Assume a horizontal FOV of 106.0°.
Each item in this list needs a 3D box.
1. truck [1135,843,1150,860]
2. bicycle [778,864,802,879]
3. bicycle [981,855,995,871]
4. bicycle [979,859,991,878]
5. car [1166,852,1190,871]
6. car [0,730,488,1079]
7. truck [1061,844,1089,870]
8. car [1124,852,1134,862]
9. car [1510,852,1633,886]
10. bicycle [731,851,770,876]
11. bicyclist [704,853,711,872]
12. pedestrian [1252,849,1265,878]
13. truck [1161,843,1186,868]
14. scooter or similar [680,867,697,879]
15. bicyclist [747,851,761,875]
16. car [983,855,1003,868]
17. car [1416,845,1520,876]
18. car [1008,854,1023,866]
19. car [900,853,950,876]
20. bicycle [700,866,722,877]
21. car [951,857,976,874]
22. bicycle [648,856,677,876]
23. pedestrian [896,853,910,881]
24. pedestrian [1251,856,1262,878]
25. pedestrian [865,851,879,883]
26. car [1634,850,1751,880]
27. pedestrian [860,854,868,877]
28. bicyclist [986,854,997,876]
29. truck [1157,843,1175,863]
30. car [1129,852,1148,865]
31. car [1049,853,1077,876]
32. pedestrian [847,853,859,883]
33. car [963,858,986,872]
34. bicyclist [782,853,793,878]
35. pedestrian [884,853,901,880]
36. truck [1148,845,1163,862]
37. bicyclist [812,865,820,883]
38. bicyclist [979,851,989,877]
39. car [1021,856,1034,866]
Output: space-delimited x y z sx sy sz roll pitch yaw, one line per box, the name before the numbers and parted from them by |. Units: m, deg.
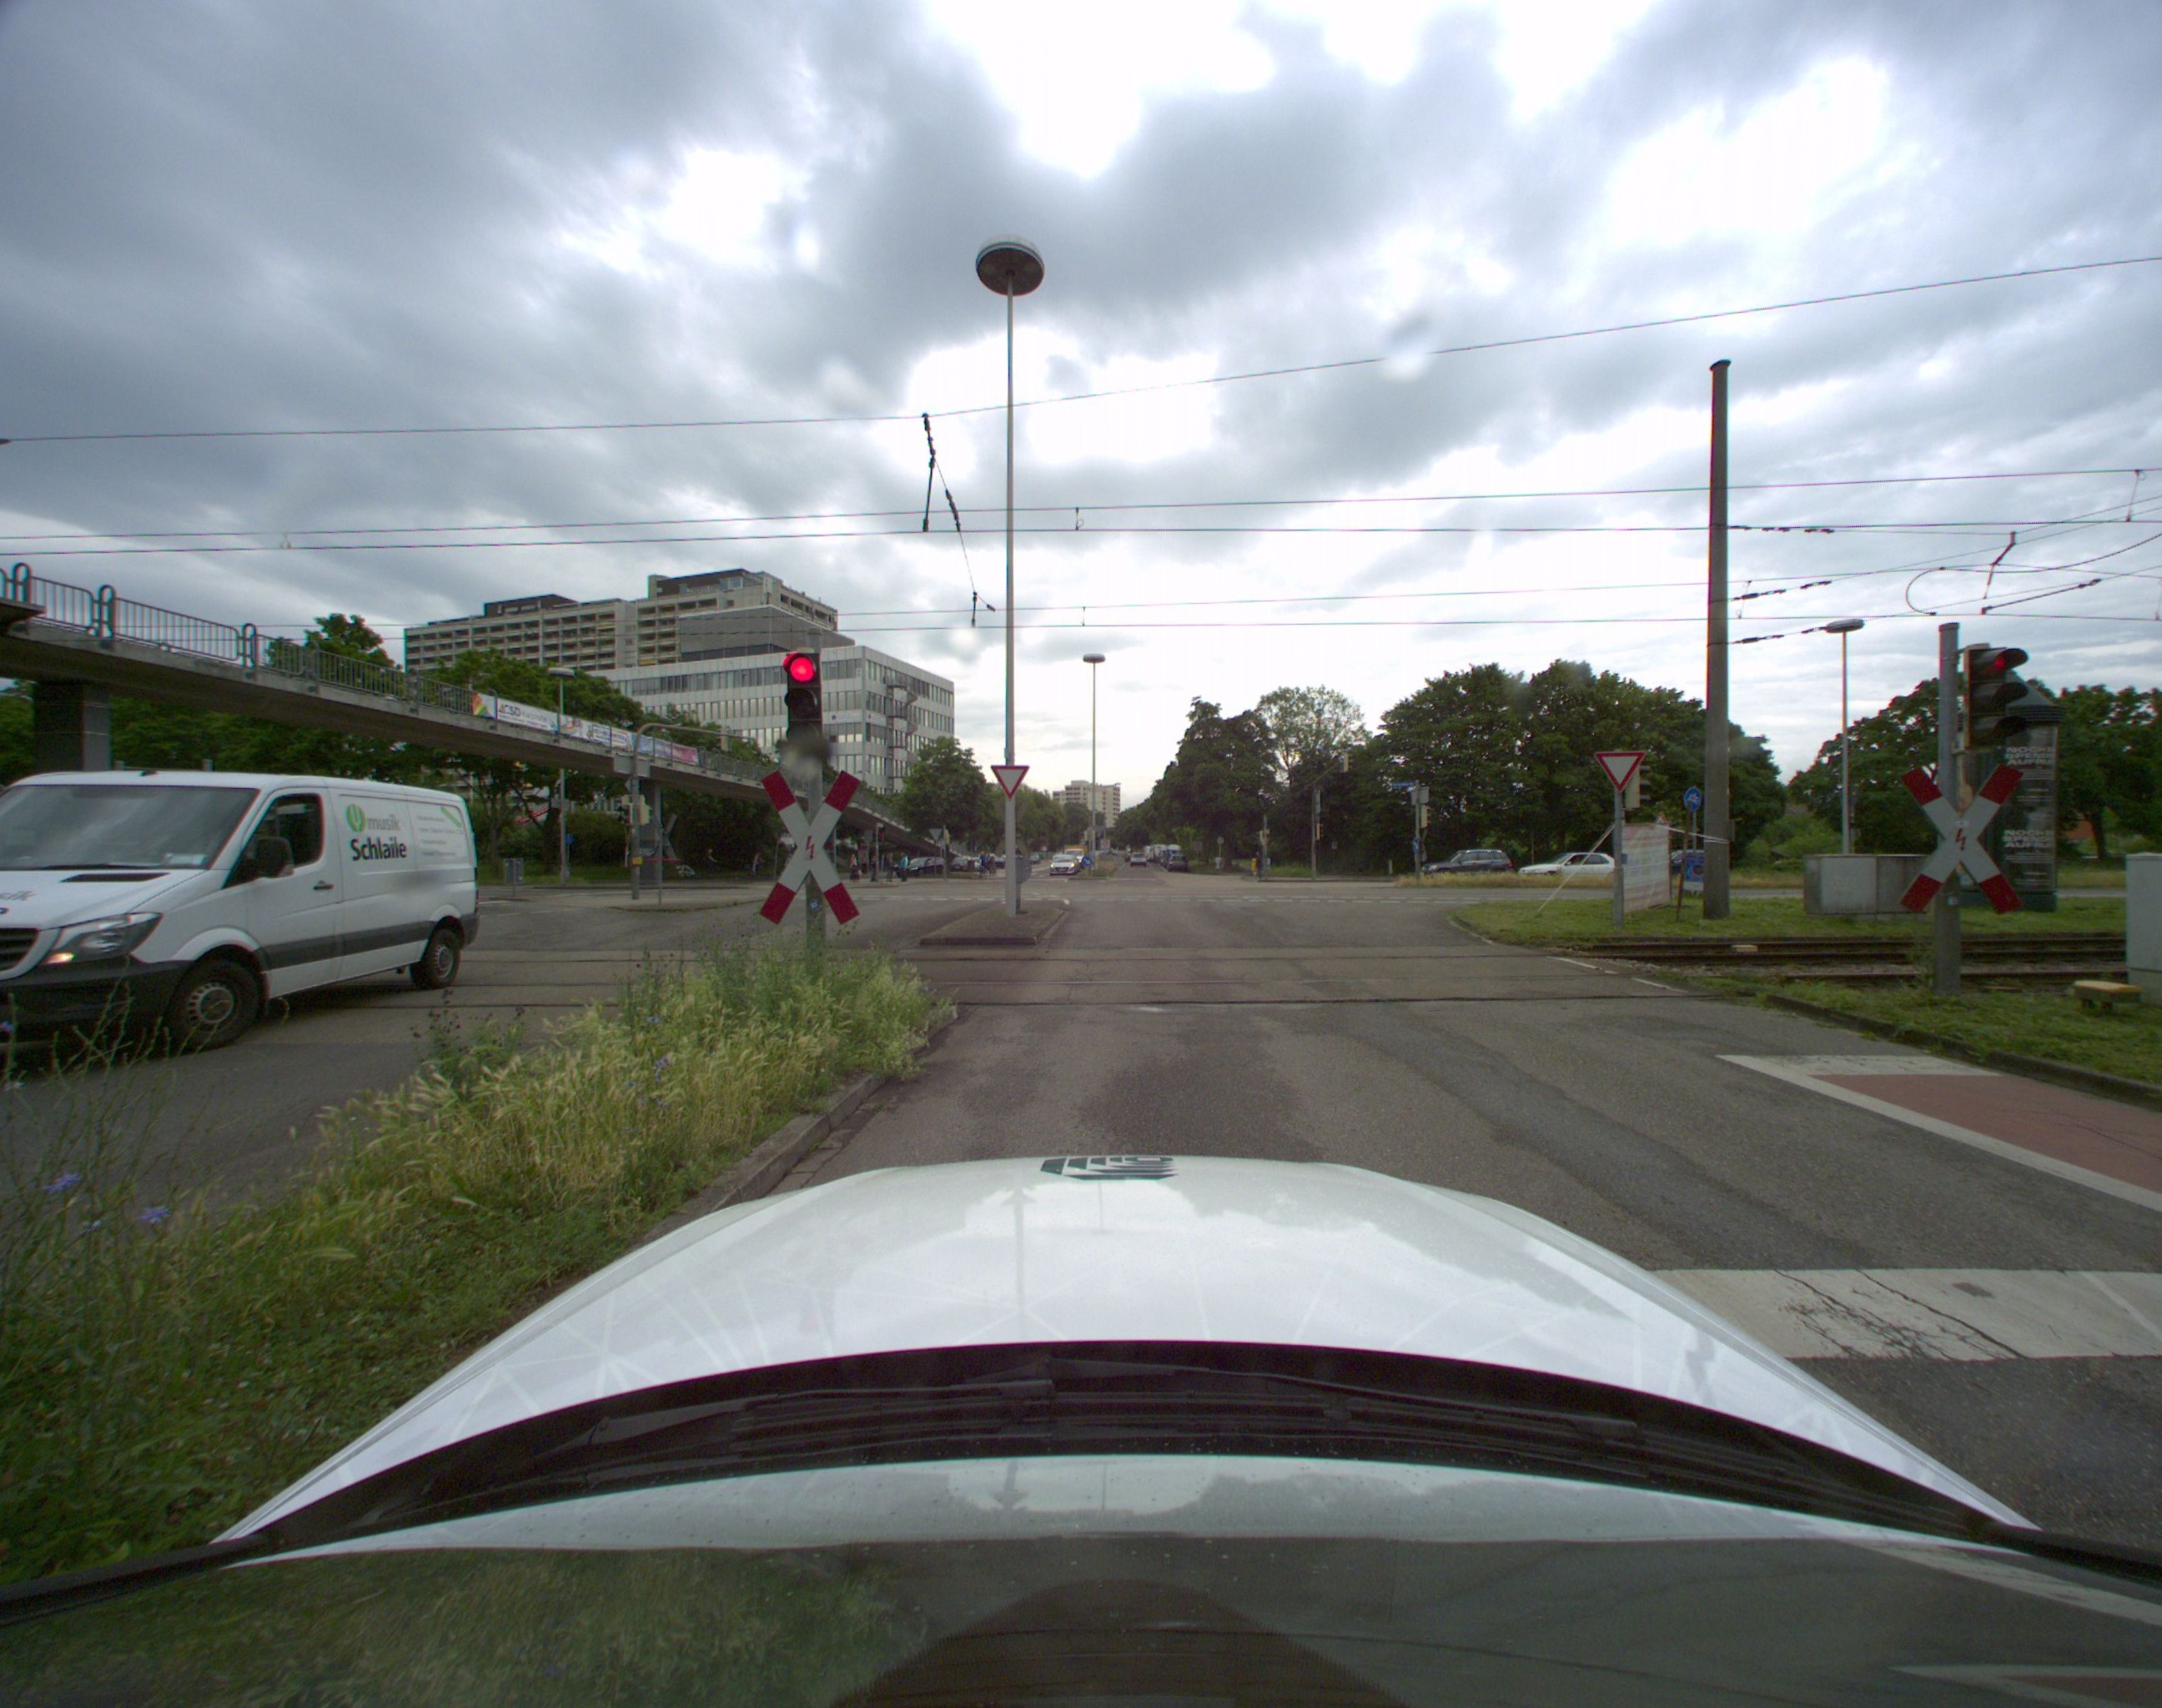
truck | 10.790 -0.442 142.911 1.988 3.009 5.768 0 -1 -1
bicycle | -19.647 1.183 54.984 0.628 0.925 2.524 0 0 2
bicycle | -6.625 0.618 58.113 0.724 1.101 2.265 0 0 2
bicycle | -6.655 0.975 56.383 0.541 1.267 2.112 0 0 2
car | 8.792 0.623 73.889 1.777 1.662 4.002 0 0 2
car | -8.084 0.362 7.749 2.138 2.292 5.181 -1 0 -15
truck | -0.458 0.251 72.004 2.147 2.199 5.844 0 0 2
car | 7.958 0.511 134.250 1.548 1.505 4.001 0 0 1
car | 20.361 0.624 33.943 4.120 1.357 1.648 0 0 2
bicycle | -22.034 0.608 54.292 2.357 1.625 0.526 0 0 -9
bicyclist | -24.670 0.561 53.813 0.385 1.303 0.275 0 0 -35
pedestrian | 10.697 0.572 49.126 0.654 1.750 0.459 0 0 1
truck | 10.273 0.210 90.666 2.166 2.656 6.249 -1 -1 2
scooter or similar | -25.660 1.239 53.224 1.001 0.715 0.402 0 0 -33
bicyclist | -21.807 0.607 54.341 0.747 1.625 0.526 0 0 -9
car | -10.144 0.833 93.988 1.757 1.395 4.002 0 0 2
car | 19.650 0.329 41.506 4.447 1.504 1.847 0 0 2
car | -8.493 0.797 105.931 1.439 1.552 3.666 0 0 2
car | -11.022 0.741 57.827 1.658 1.552 4.019 0 0 19
bicycle | -24.505 1.184 53.975 1.303 0.692 0.287 0 0 -34
car | -11.209 1.047 78.087 1.665 1.552 3.894 0 0 3
bicycle | -27.299 0.802 53.138 1.697 1.304 0.389 0 0 3
pedestrian | -10.096 0.723 46.227 0.685 1.605 0.487 0 0 -3
pedestrian | 10.721 0.778 49.754 0.525 1.342 0.525 0 0 1
pedestrian | -11.870 0.744 46.241 0.636 1.803 0.800 0 0 -7
car | 30.679 0.544 40.955 4.447 1.440 1.847 0 0 2
pedestrian | -15.210 0.823 57.068 0.580 1.579 0.777 0 0 -16
bicyclist | -6.496 0.774 58.870 0.676 1.594 0.695 0 -1 1
truck | 12.498 -0.171 119.985 1.988 2.838 5.727 0 0 -2
car | 6.593 0.504 94.266 2.013 1.505 4.002 0 0 2
car | -1.252 0.711 58.162 1.782 1.519 4.327 0 0 2
pedestrian | -12.887 0.804 46.094 0.619 1.691 0.403 0 0 -12
car | -10.864 1.107 83.578 1.665 1.387 3.898 0 0 3
bicyclist | -19.811 0.782 54.983 0.563 1.644 0.532 0 -1 2
pedestrian | -10.719 0.719 46.328 0.917 1.511 0.402 0 0 -10
truck | 12.095 -0.063 132.076 1.987 2.573 5.377 0 -1 0
bicyclist | -17.914 1.360 55.119 0.403 1.181 0.378 0 1 4
bicyclist | -6.657 0.664 55.906 0.642 1.768 0.647 0 0 1
car | -8.283 1.096 126.063 1.665 1.552 4.003 0 0 3
